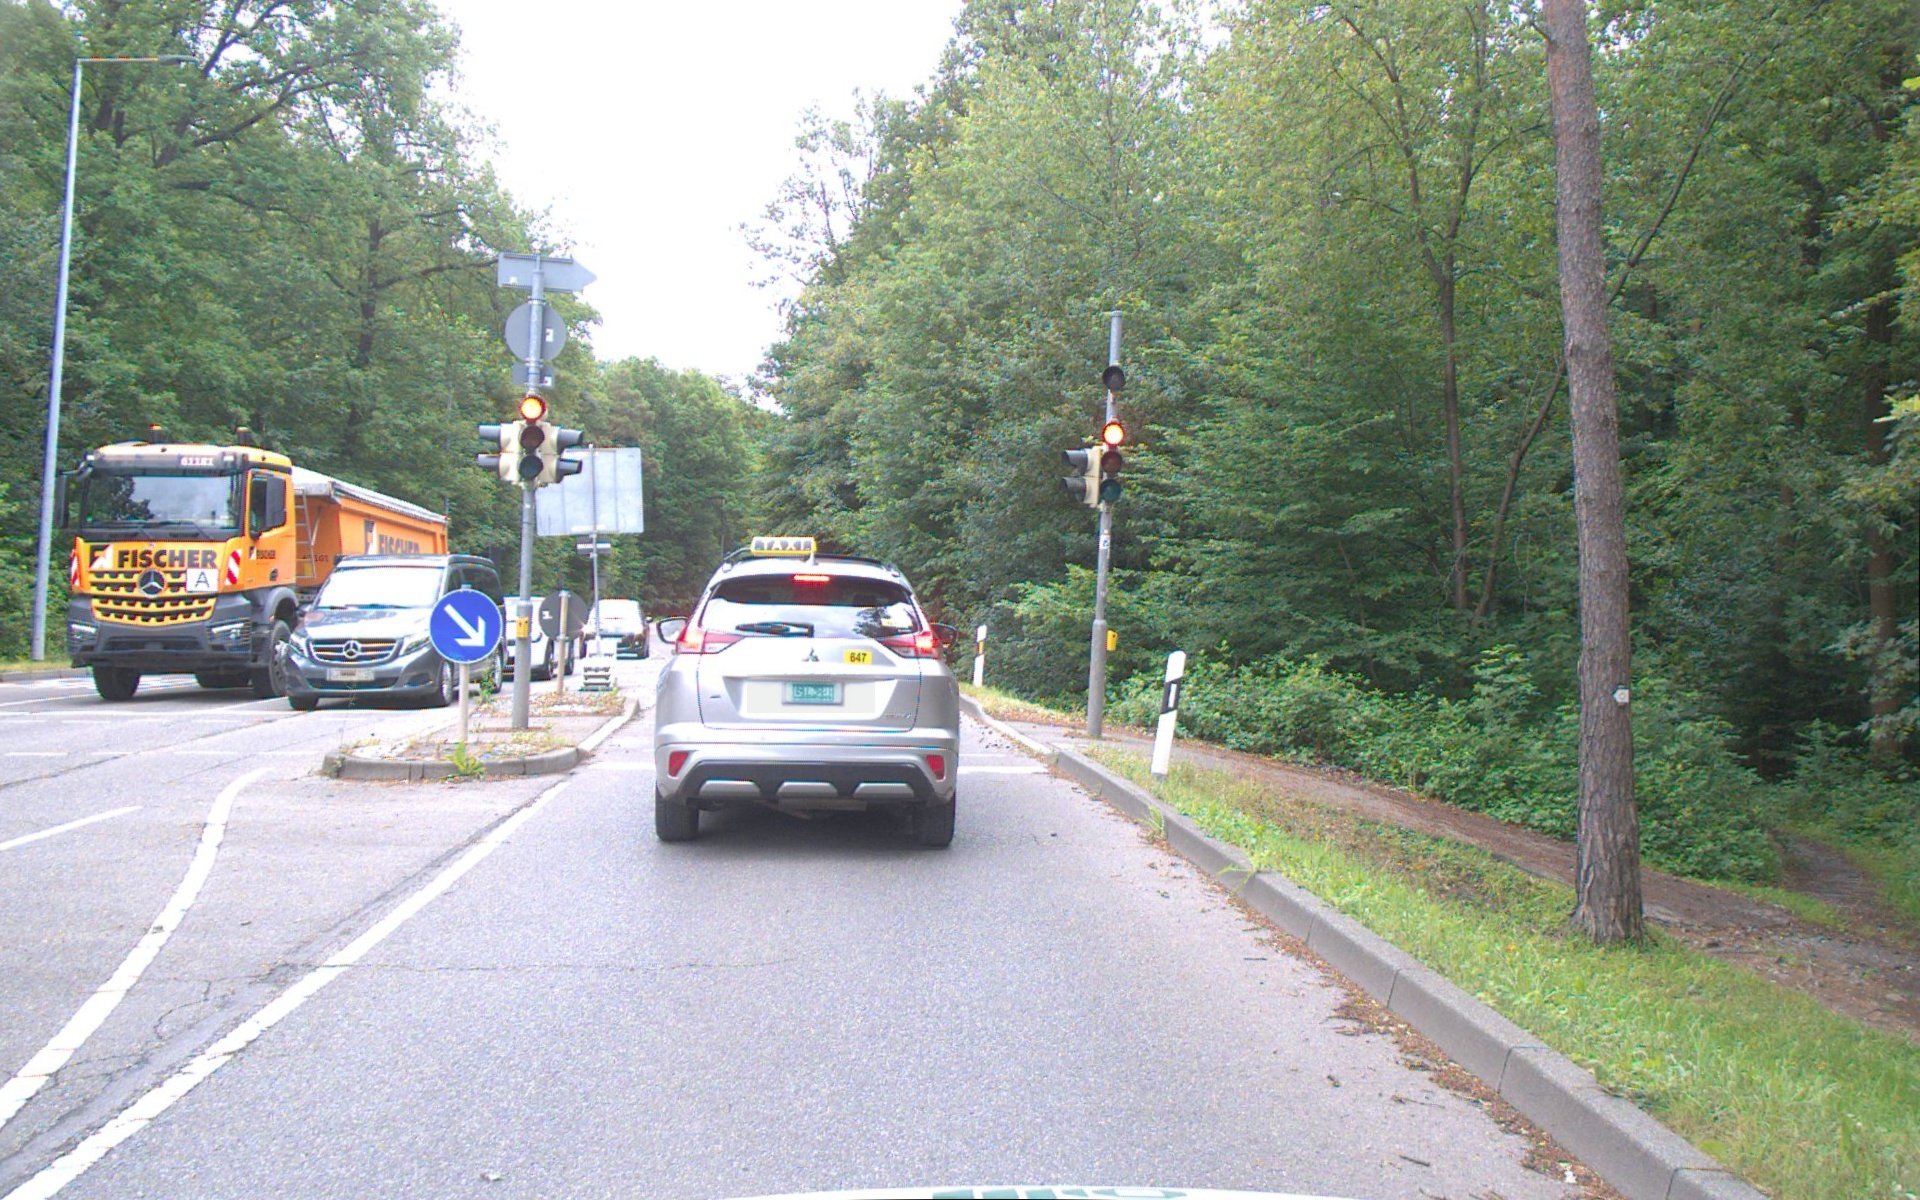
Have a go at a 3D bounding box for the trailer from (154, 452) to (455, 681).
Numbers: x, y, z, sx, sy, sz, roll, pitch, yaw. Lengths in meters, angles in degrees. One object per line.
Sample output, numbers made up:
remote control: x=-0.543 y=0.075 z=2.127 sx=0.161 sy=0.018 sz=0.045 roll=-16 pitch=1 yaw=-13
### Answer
trailer: x=-11.021 y=-0.446 z=28.810 sx=2.686 sy=3.376 sz=8.556 roll=0 pitch=-1 yaw=-6

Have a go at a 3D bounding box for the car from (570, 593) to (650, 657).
car: x=-9.057 y=0.633 z=43.051 sx=1.778 sy=1.534 sz=3.714 roll=-1 pitch=0 yaw=-8

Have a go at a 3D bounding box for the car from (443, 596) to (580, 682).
car: x=-7.817 y=0.639 z=29.135 sx=1.580 sy=1.344 sz=3.719 roll=-1 pitch=1 yaw=-4

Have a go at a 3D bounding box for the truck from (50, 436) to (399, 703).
truck: x=-10.558 y=-0.350 z=24.625 sx=2.686 sy=3.376 sz=7.149 roll=0 pitch=-1 yaw=-6

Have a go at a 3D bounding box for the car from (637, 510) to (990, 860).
car: x=-0.967 y=0.438 z=10.792 sx=1.811 sy=1.811 sz=3.995 roll=2 pitch=0 yaw=-6

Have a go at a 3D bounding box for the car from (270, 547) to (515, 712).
car: x=-7.370 y=0.356 z=22.022 sx=1.955 sy=1.927 sz=4.833 roll=-1 pitch=0 yaw=-5
